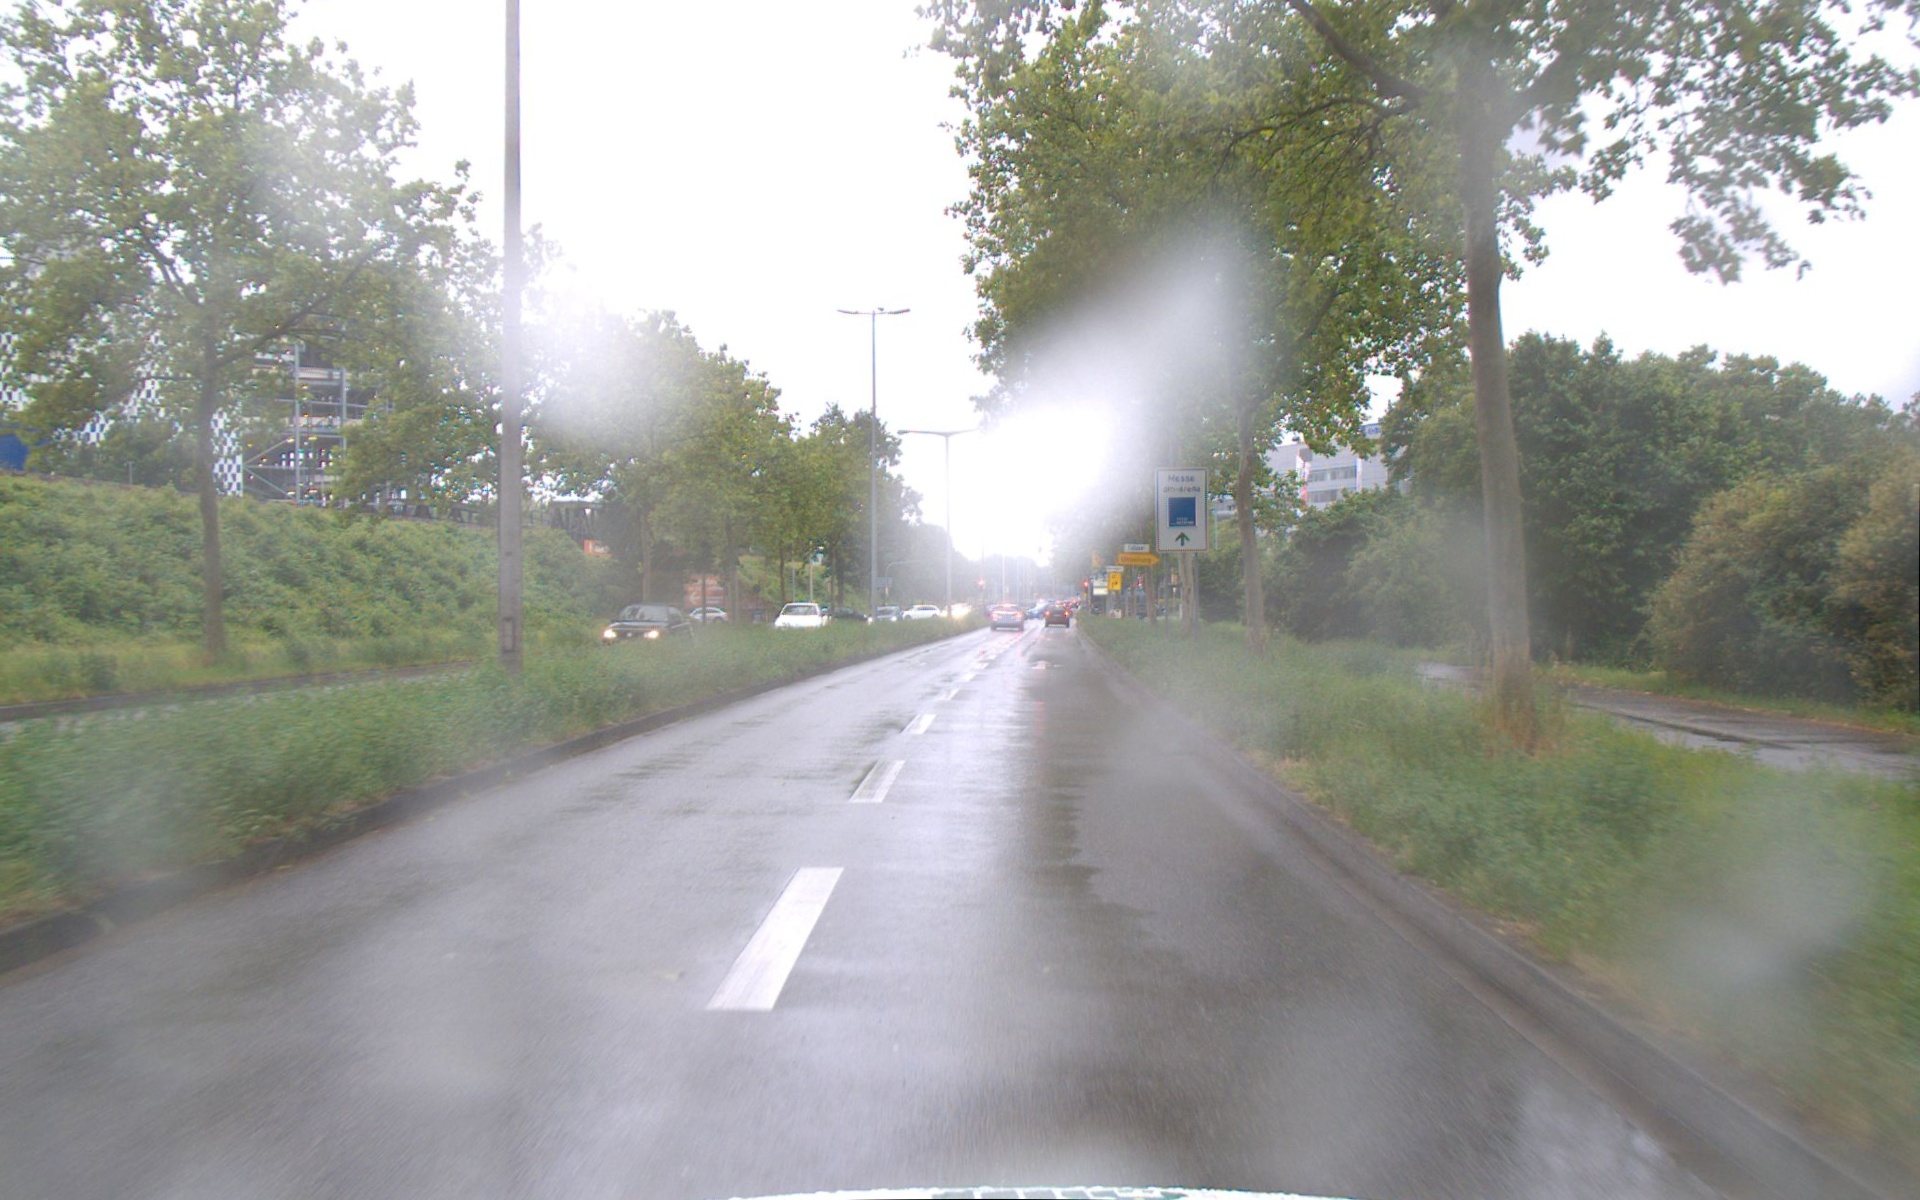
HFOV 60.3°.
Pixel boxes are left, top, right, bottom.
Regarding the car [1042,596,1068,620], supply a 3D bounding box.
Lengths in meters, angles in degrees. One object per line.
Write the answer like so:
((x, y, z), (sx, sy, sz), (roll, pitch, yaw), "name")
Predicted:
((6.646, 0.555, 115.289), (1.758, 1.564, 4.389), (1, 0, 4), "car")

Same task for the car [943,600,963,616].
((-0.691, 0.826, 163.934), (1.676, 1.557, 4.002), (-1, 0, 4), "car")

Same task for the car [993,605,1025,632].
((2.788, 1.017, 93.384), (1.654, 1.458, 4.576), (0, 0, 4), "car")

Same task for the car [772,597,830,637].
((-6.248, 0.642, 65.388), (1.666, 1.521, 4.206), (0, 0, 3), "car")

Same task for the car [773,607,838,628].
((-11.159, 1.259, 119.581), (4.549, 1.470, 1.936), (0, 0, -3), "car")

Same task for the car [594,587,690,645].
((-8.338, 0.402, 43.628), (1.597, 1.451, 4.001), (0, 0, 3), "car")
